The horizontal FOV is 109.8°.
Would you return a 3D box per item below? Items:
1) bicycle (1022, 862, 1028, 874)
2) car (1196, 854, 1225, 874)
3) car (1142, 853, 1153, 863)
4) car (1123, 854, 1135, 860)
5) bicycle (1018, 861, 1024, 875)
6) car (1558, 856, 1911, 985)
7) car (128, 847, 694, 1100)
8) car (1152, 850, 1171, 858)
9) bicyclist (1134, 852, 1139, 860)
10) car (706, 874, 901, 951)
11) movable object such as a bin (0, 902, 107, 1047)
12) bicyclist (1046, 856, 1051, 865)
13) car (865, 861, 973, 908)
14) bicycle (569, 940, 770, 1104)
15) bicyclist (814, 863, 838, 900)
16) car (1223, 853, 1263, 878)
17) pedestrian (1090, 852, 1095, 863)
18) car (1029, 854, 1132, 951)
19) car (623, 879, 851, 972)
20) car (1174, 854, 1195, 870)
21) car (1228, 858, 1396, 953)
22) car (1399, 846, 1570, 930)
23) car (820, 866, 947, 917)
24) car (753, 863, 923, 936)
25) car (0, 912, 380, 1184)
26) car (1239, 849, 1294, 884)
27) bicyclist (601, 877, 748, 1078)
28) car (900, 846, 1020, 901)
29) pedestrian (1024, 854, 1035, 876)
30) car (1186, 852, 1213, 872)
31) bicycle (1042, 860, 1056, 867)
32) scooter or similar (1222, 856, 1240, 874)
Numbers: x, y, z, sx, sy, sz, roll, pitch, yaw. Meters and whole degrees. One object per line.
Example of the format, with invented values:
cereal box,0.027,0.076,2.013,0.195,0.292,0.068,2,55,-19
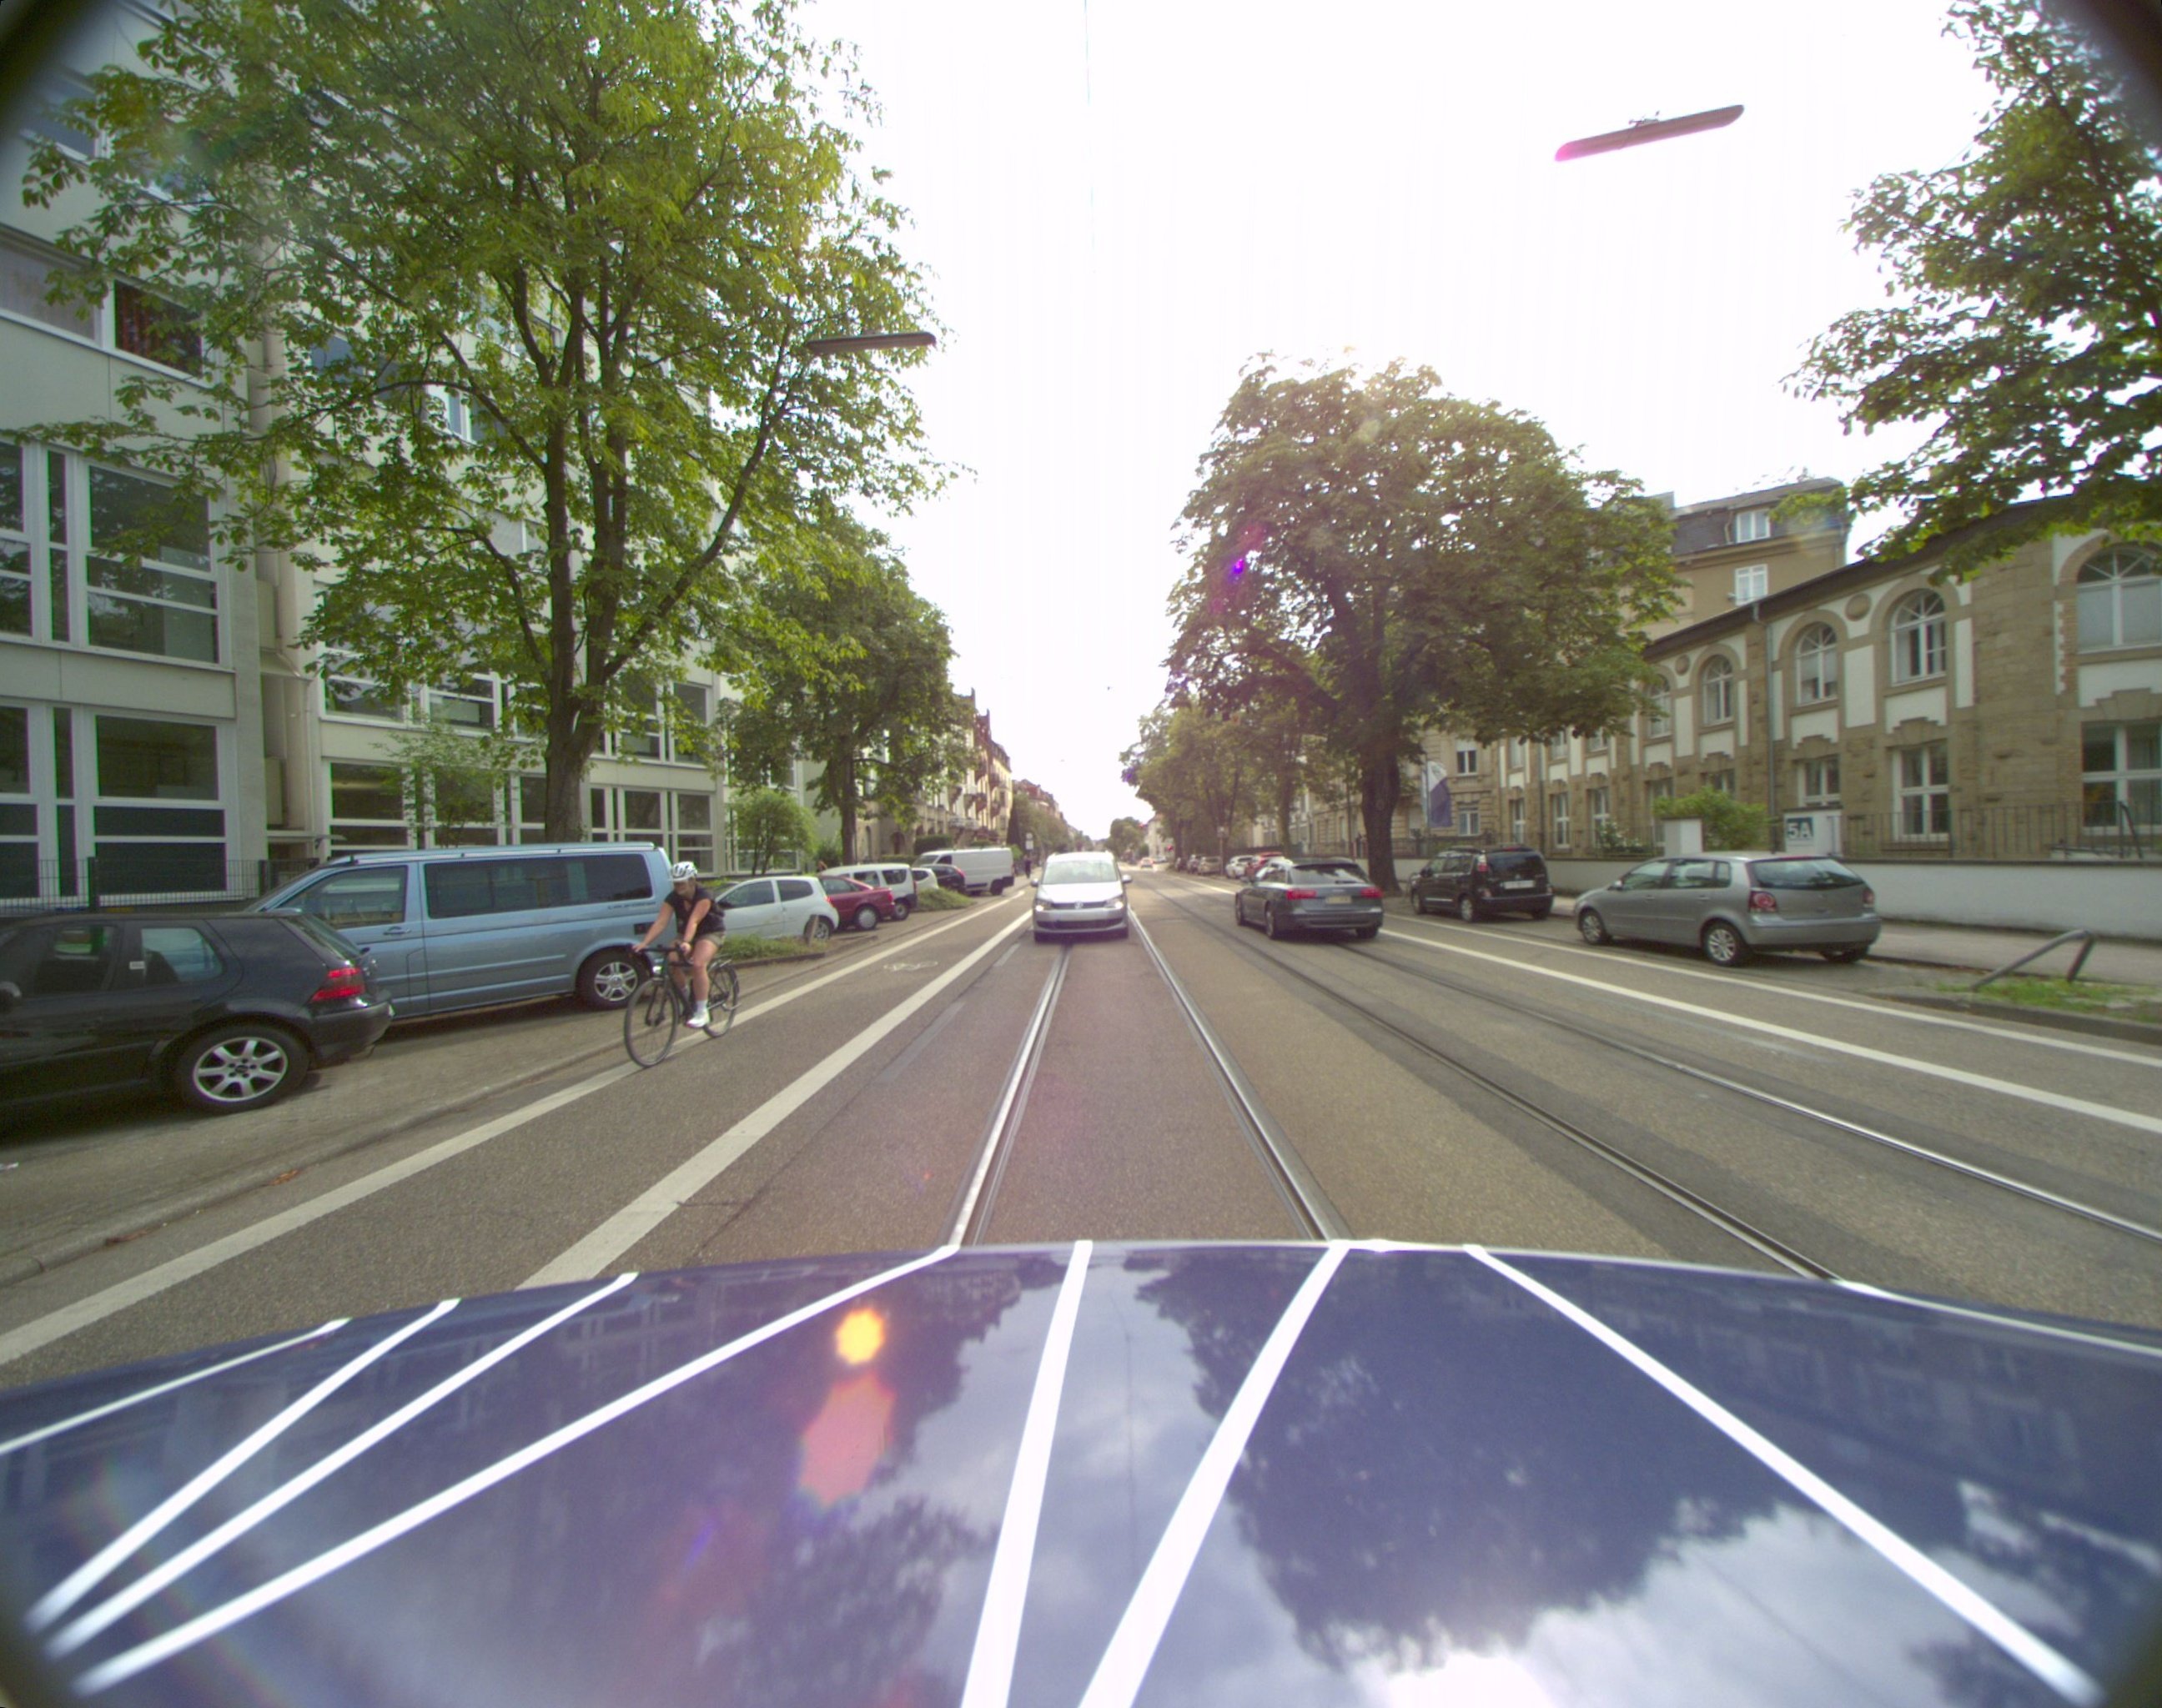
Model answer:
bicycle,-5.096,1.279,69.418,0.392,1.096,1.759,0,0,2
car,10.060,0.783,59.328,1.604,1.459,4.079,-2,0,1
car,9.313,0.591,106.695,1.574,1.408,4.002,0,0,5
car,16.506,0.924,258.870,3.996,1.716,1.877,-3,0,4
bicycle,-5.268,1.231,66.707,0.392,1.135,1.921,0,0,2
car,8.861,0.786,10.830,1.697,1.419,3.868,-3,0,1
car,-6.955,1.009,8.473,4.284,2.003,1.826,-3,1,-43
car,18.154,0.097,171.739,3.989,1.622,1.682,-2,0,42
bicyclist,9.107,0.328,124.333,0.773,1.357,0.615,-2,1,7
car,-6.562,1.309,18.181,3.983,1.424,1.685,-3,1,-41
movable object such as a bin,-12.175,1.349,8.379,1.072,1.499,1.323,-3,0,2
bicyclist,-5.332,1.097,125.899,0.570,1.366,0.616,-2,1,18
car,-6.610,1.222,31.270,3.968,1.639,1.685,-3,1,-43
bicycle,-3.483,1.365,6.691,0.640,0.975,2.071,-2,0,-1
bicyclist,-10.092,1.080,30.091,0.649,1.461,0.800,0,0,1
car,10.385,0.691,48.960,1.725,1.415,4.023,-4,0,0
pedestrian,1.761,0.464,115.796,0.721,1.651,0.759,2,0,-2
car,0.074,0.876,15.796,1.767,1.661,4.330,-3,0,2
car,-6.756,1.309,15.138,3.723,1.424,1.685,-3,1,-43
car,10.694,0.803,78.759,1.724,1.416,4.166,-4,0,3
car,4.167,0.841,14.524,1.839,1.439,4.553,-2,0,1
car,9.029,0.688,17.438,1.760,1.637,4.052,-3,0,1
car,-7.104,1.304,27.546,4.100,1.502,1.685,-3,1,-43
car,-6.646,1.185,21.059,4.116,1.658,1.685,-3,1,-44
car,-7.297,1.293,4.984,1.672,1.451,3.836,-2,1,45
car,9.776,0.641,40.317,1.725,1.645,4.542,-4,0,0
bicyclist,-3.490,1.003,6.625,0.640,1.561,1.110,-2,0,-1
car,-5.616,0.864,35.705,4.968,2.277,2.378,-3,1,-41
pedestrian,-4.051,0.891,60.182,0.787,1.723,0.896,1,0,1
car,10.359,0.689,66.861,1.714,1.664,4.357,-2,0,1
bicycle,-5.338,1.531,125.893,2.196,1.019,0.616,-2,0,18
scooter or similar,10.304,0.781,52.221,0.563,1.216,1.321,-2,0,-22
